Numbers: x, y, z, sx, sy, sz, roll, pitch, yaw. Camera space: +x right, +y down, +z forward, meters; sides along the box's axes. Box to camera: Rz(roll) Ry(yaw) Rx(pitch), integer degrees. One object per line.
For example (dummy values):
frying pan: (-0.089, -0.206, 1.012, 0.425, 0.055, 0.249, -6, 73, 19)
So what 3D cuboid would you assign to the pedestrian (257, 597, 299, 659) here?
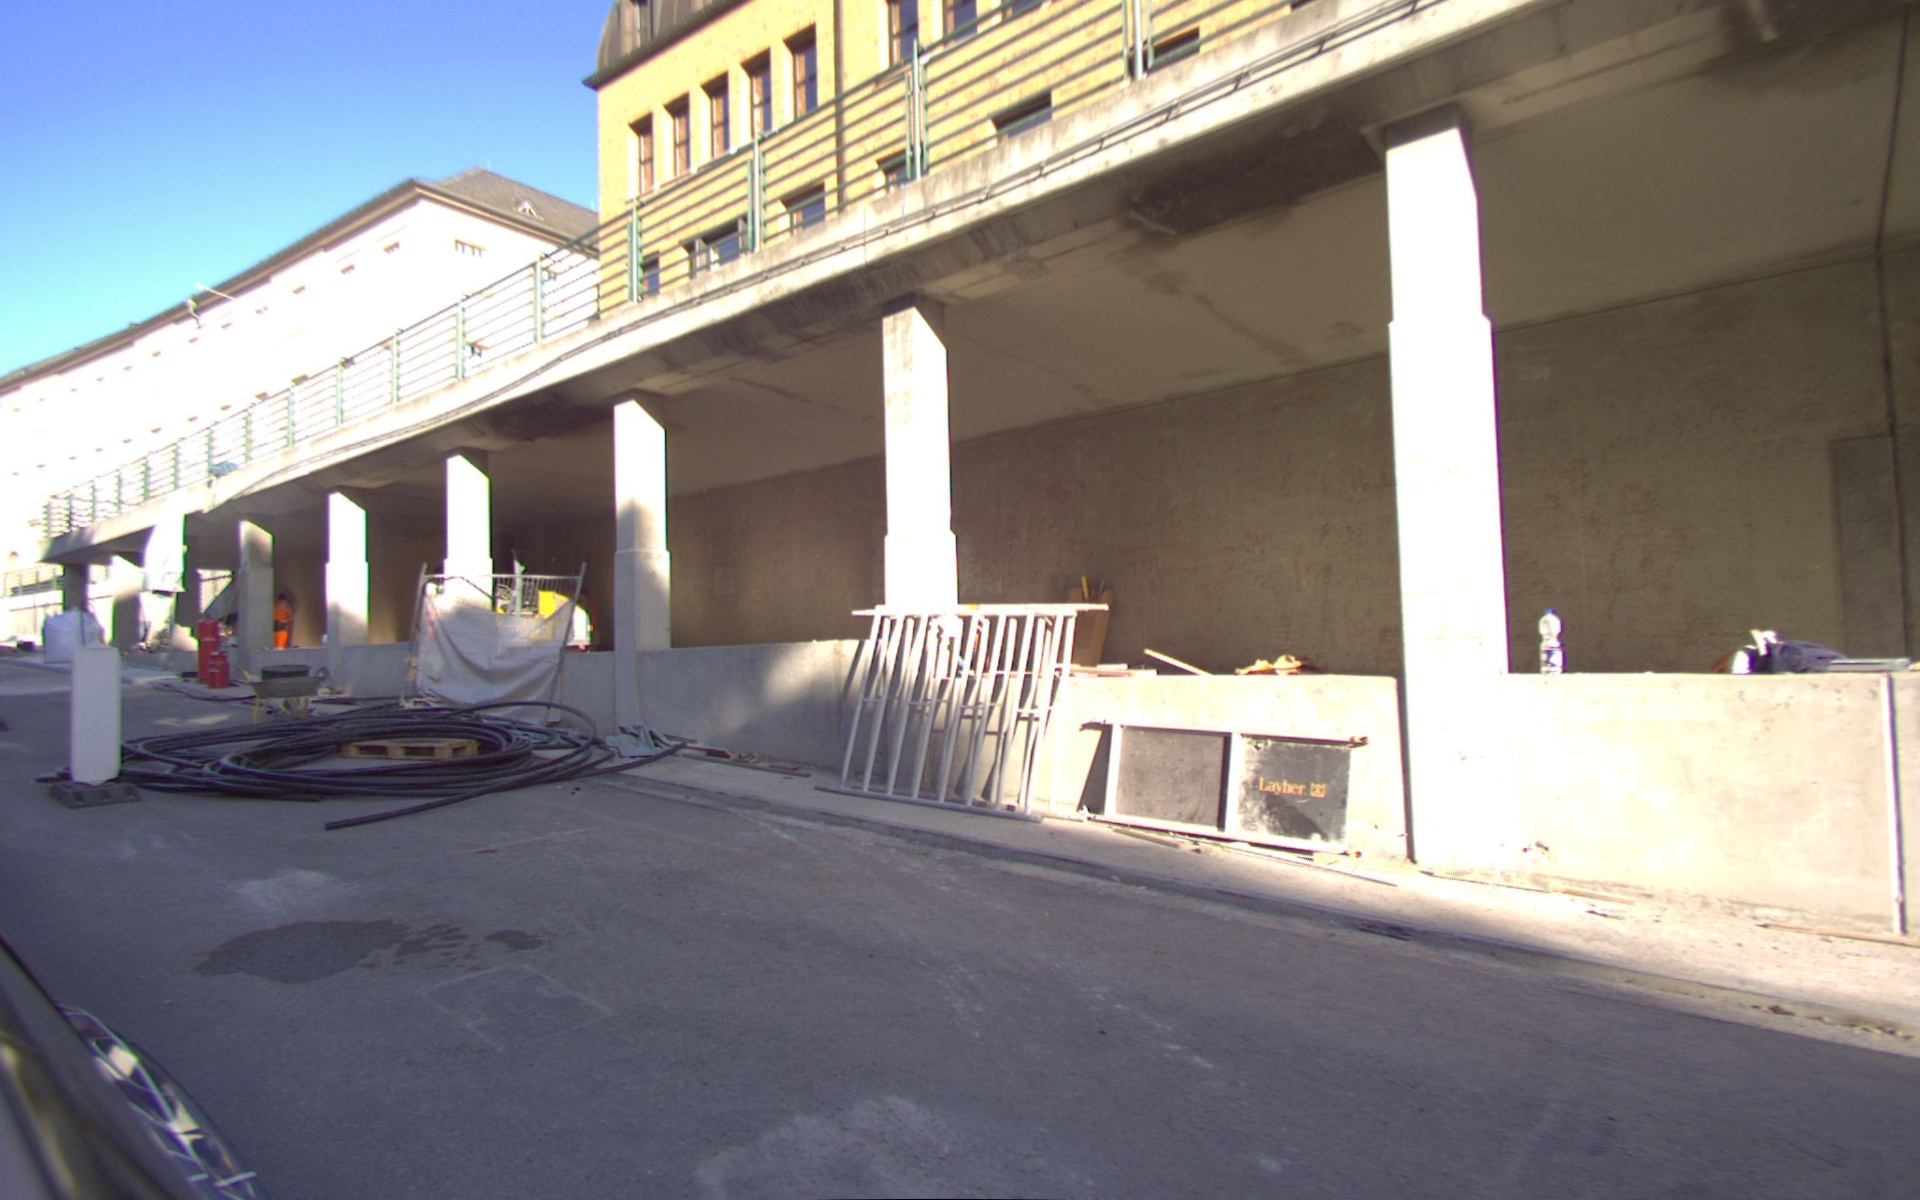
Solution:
pedestrian: (-17.850, 0.725, 26.491, 0.628, 1.592, 0.645, 0, -1, 28)

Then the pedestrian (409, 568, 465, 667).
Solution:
pedestrian: (-9.885, 0.318, 19.123, 0.708, 1.828, 0.698, -1, 0, 35)

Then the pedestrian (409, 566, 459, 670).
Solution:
pedestrian: (-9.458, 0.316, 18.195, 0.649, 1.818, 0.625, 0, 0, -45)

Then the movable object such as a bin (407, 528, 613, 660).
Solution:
movable object such as a bin: (-7.625, -0.068, 17.107, 3.152, 2.002, 1.869, -1, -1, 36)

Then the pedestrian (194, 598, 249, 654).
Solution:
pedestrian: (-18.922, 0.662, 25.948, 0.780, 1.409, 0.866, 0, -1, 29)
